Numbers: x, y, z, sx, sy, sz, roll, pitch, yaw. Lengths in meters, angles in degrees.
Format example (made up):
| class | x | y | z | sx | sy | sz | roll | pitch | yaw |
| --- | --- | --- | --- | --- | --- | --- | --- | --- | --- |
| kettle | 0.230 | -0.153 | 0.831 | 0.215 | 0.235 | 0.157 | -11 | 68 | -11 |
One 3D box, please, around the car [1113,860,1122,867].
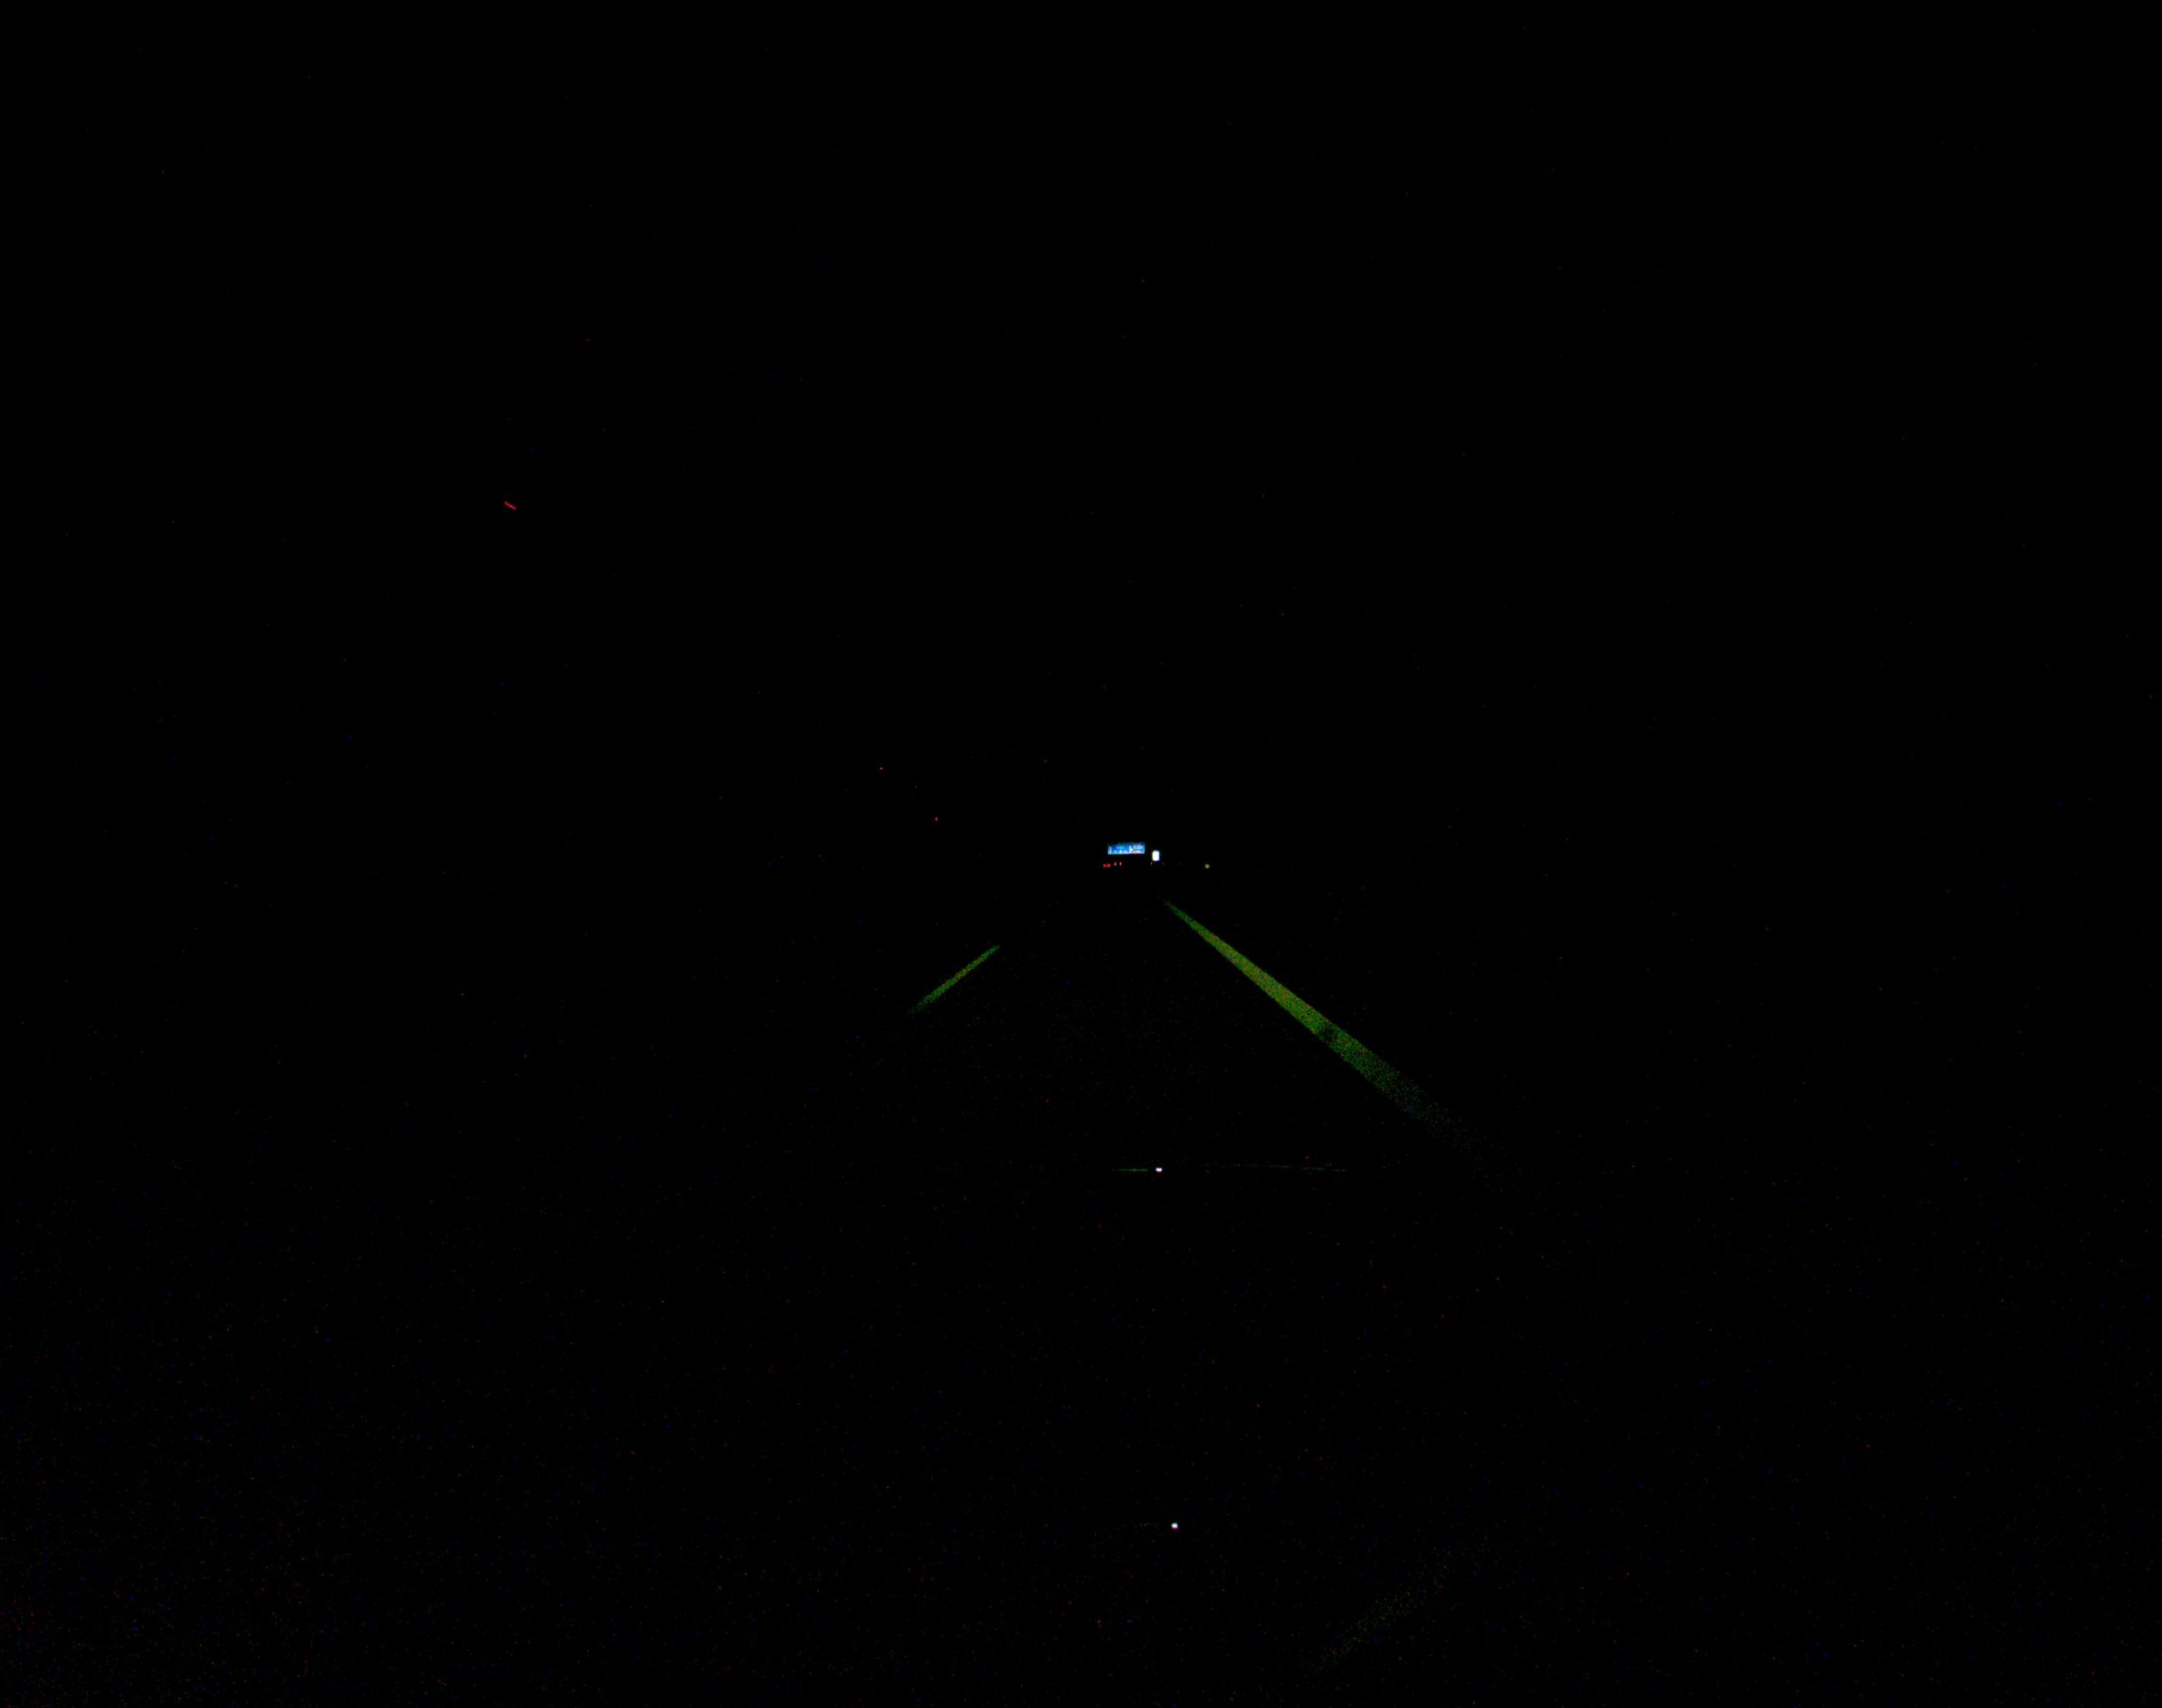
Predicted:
| class | x | y | z | sx | sy | sz | roll | pitch | yaw |
| --- | --- | --- | --- | --- | --- | --- | --- | --- | --- |
| car | 11.666 | 3.014 | 257.321 | 2.498 | 2.314 | 4.978 | -1 | -2 | 6 |
